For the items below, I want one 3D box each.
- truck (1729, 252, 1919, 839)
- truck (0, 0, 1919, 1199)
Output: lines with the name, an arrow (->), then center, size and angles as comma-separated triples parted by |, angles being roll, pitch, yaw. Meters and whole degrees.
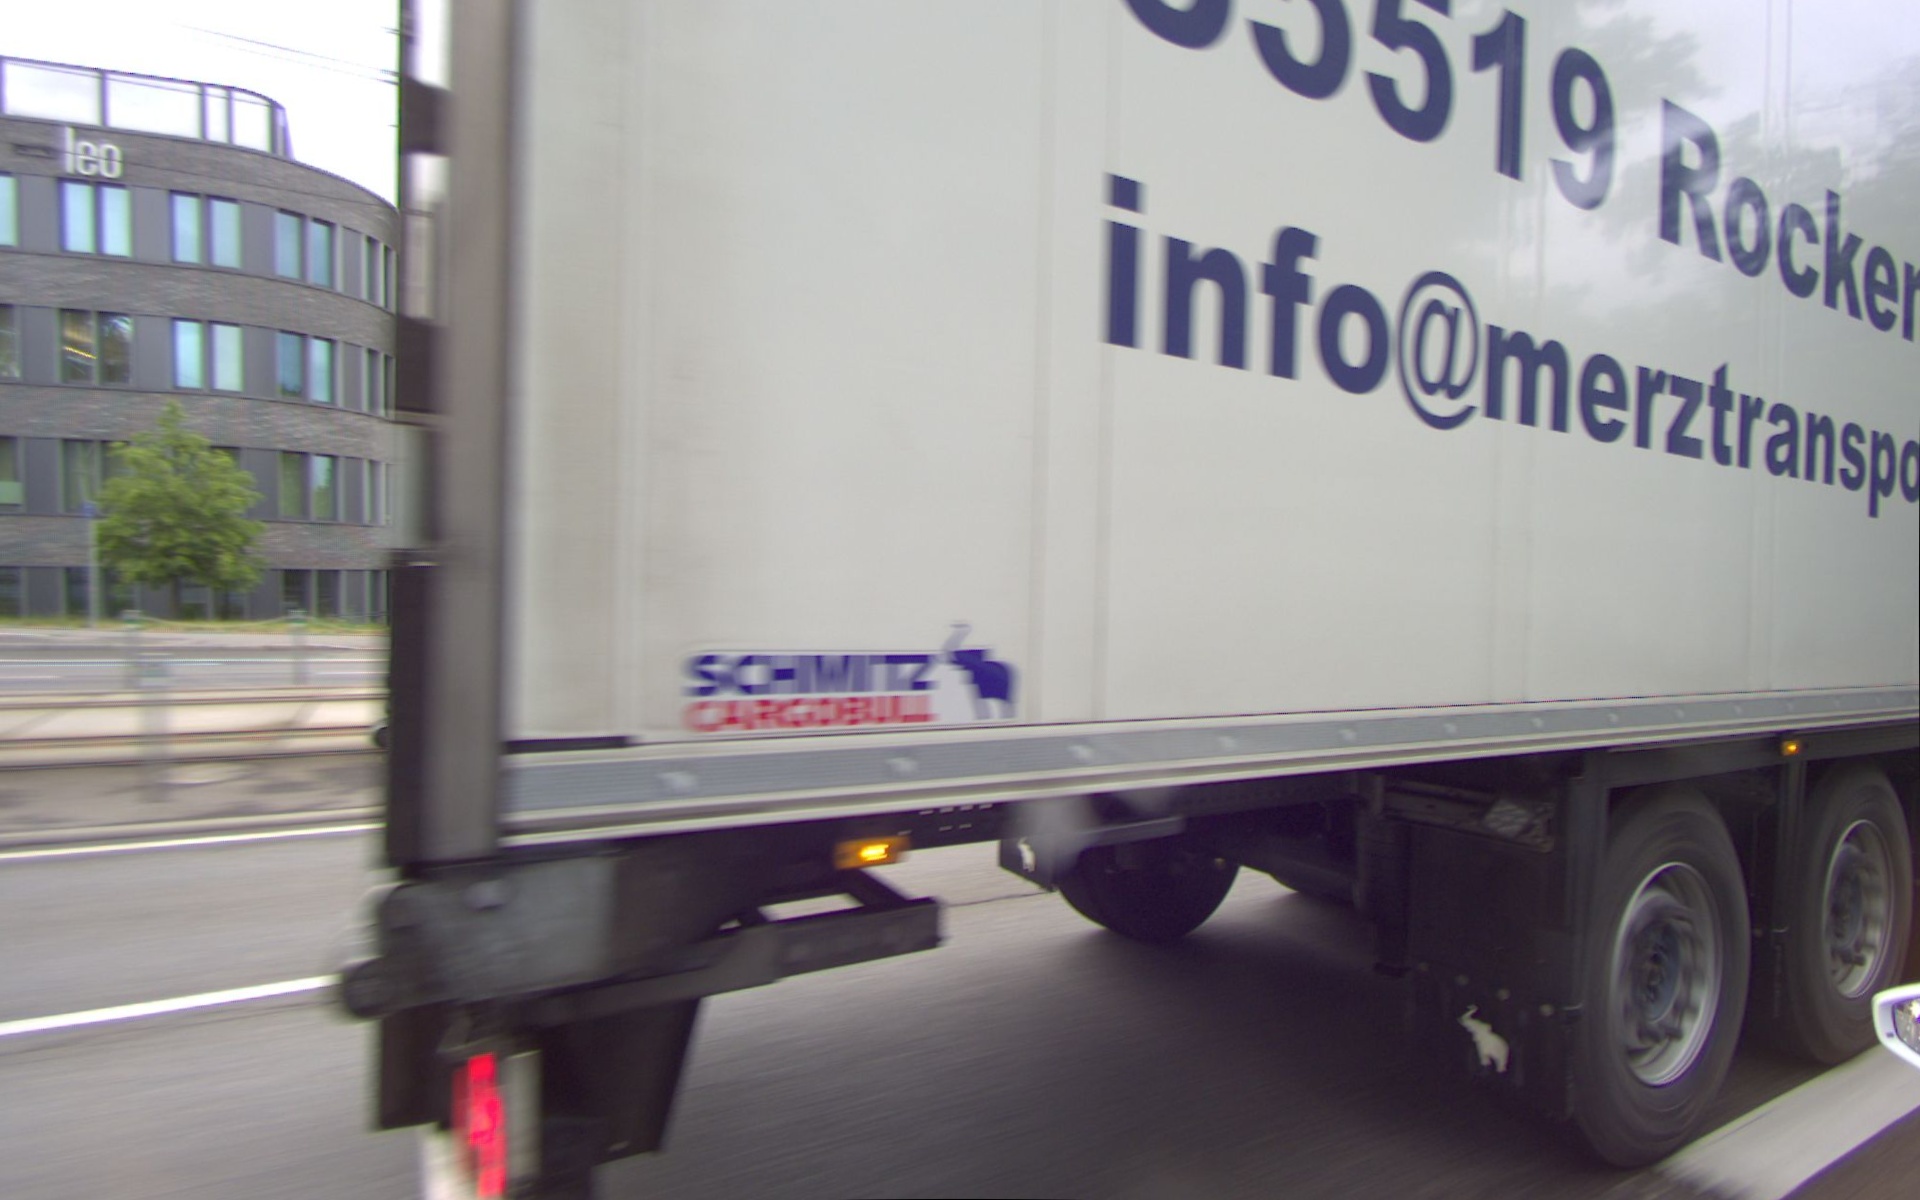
truck -> 9.919, -0.356, 8.829 | 6.705, 4.253, 2.749 | 1, -1, -31
truck -> 3.948, -0.490, 5.187 | 12.882, 4.253, 2.748 | 1, -1, -31
